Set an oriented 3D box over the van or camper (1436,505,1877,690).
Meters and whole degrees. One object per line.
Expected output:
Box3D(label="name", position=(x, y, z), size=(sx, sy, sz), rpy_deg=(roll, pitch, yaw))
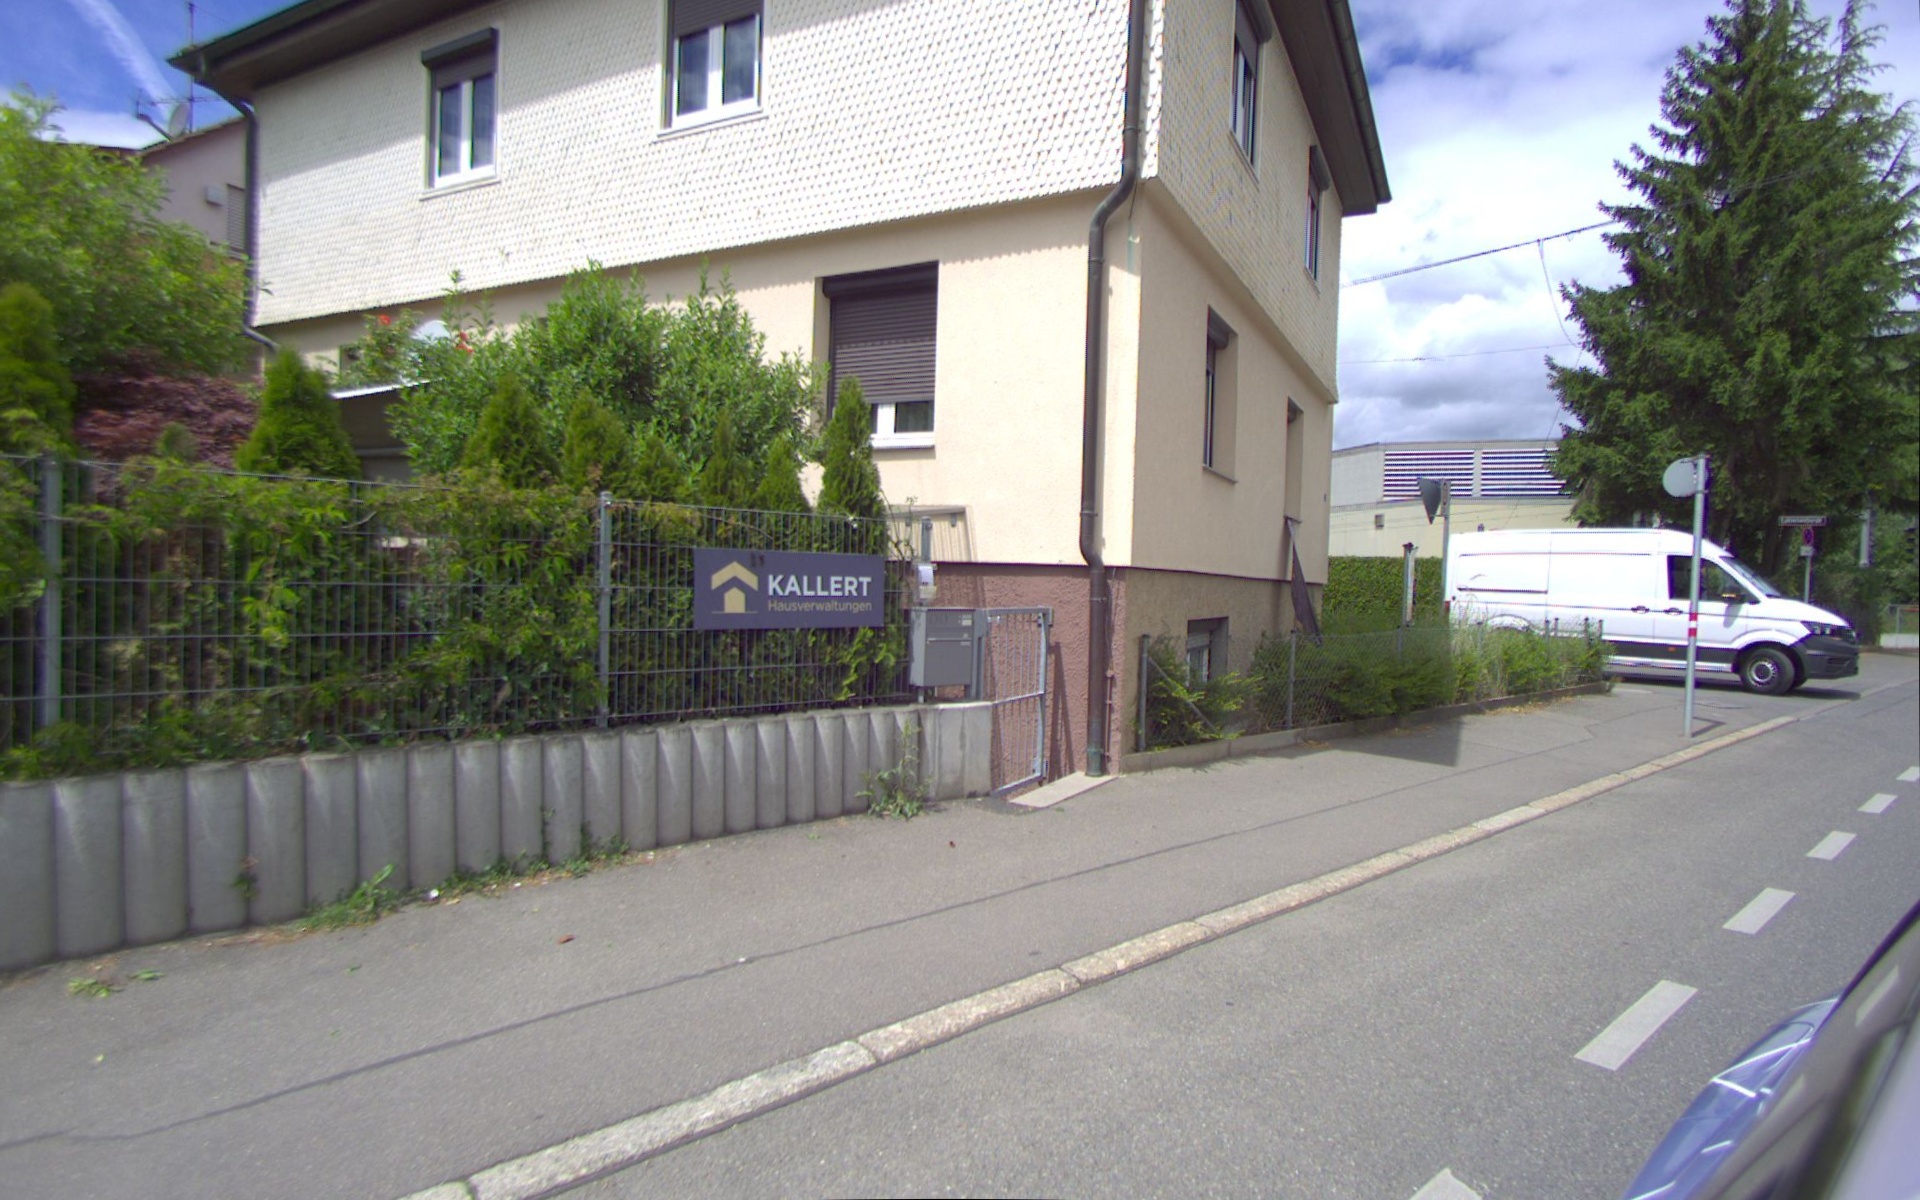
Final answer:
Box3D(label="van or camper", position=(11.513, -0.058, 17.152), size=(5.905, 2.613, 1.998), rpy_deg=(1, -1, 45))
